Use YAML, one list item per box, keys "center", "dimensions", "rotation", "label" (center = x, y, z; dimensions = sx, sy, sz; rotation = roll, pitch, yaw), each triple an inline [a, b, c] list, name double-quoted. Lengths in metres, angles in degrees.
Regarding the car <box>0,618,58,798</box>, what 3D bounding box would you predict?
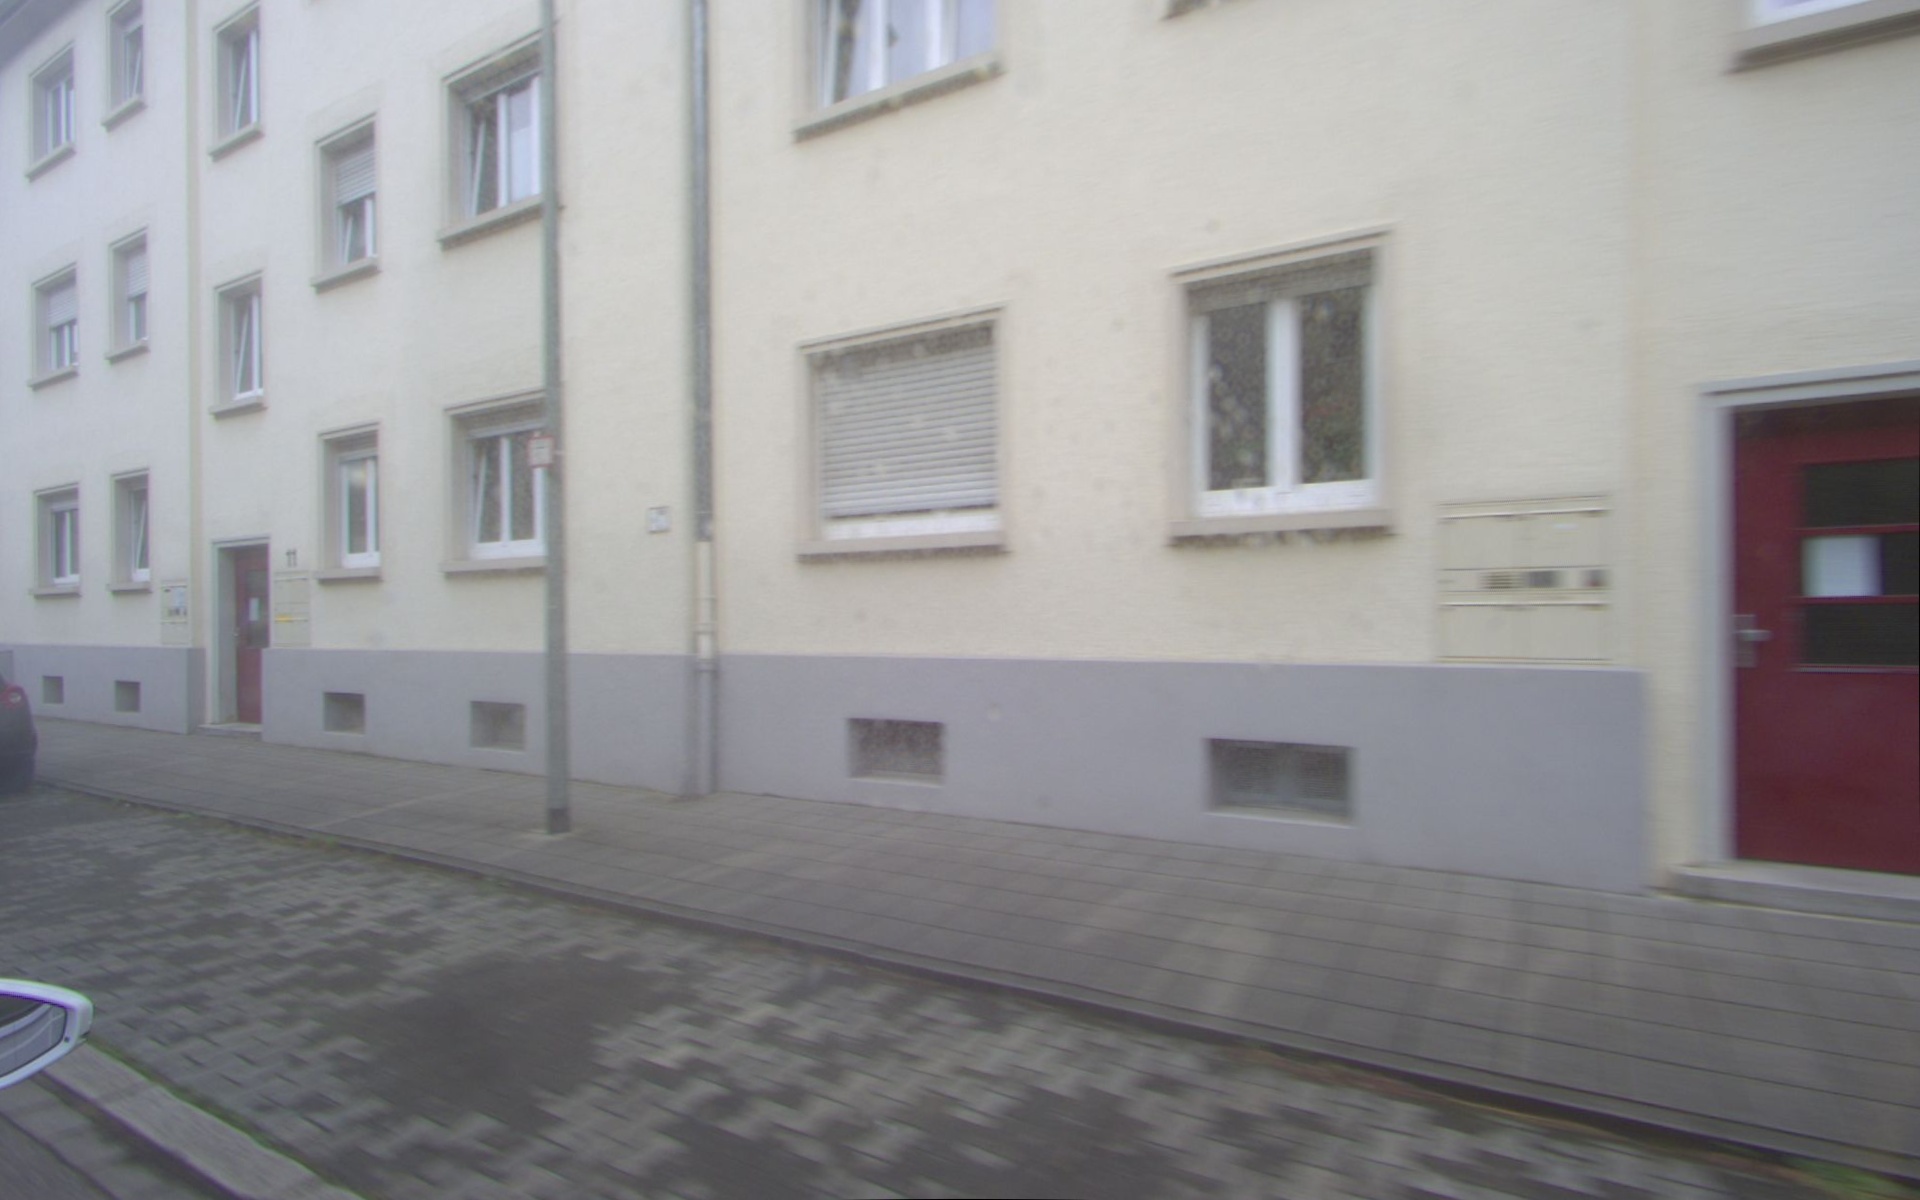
- center: [-10.134, 0.937, 9.181]
  dimensions: [4.002, 1.537, 1.722]
  rotation: [-1, -1, 32]
  label: "car"
